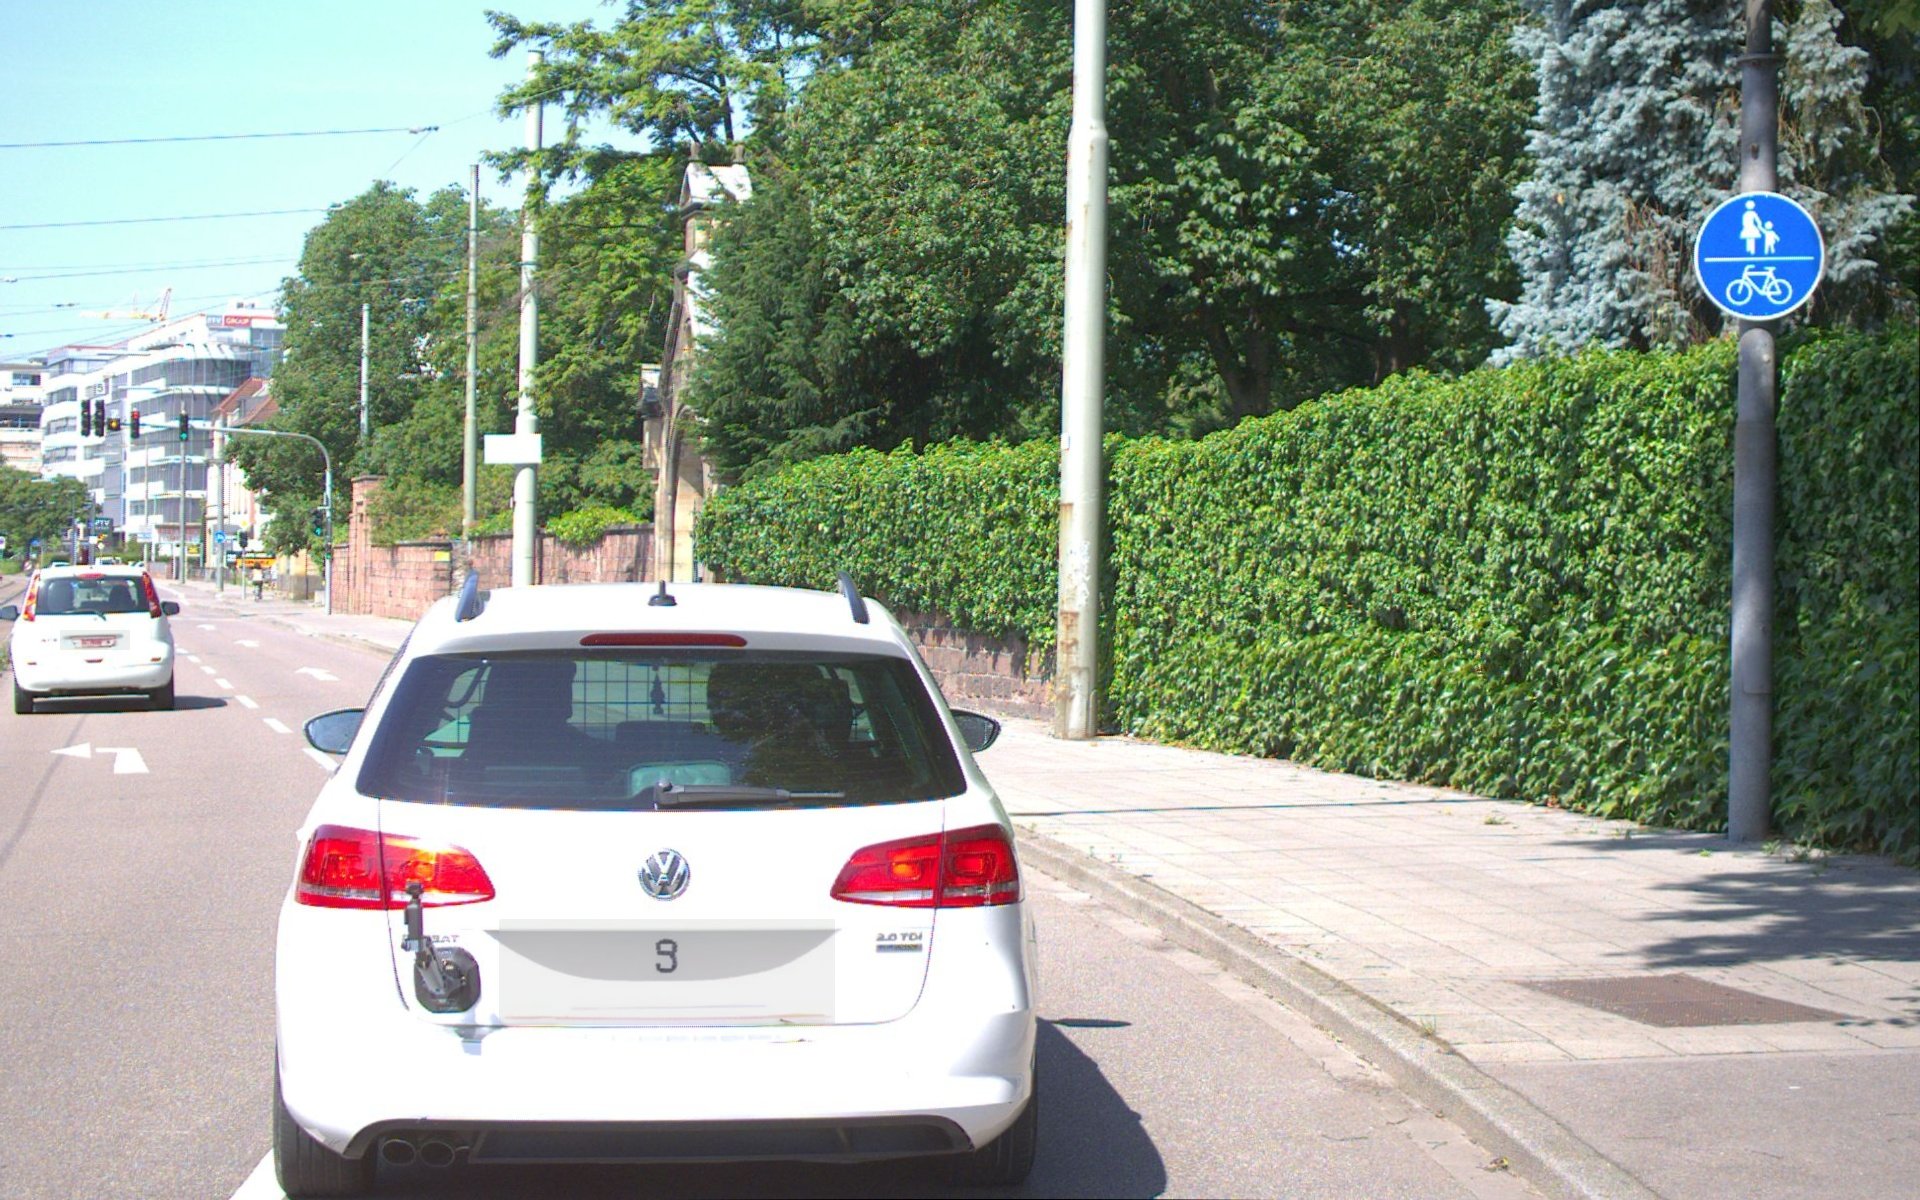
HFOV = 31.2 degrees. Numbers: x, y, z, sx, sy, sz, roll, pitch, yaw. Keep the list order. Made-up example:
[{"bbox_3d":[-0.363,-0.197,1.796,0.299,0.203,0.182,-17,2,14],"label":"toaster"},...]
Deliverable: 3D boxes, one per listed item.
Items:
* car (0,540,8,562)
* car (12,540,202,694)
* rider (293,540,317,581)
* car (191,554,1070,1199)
[{"bbox_3d":[-68.996,-3.519,245.923,1.698,1.585,3.536,0,1,-15],"label":"car"},{"bbox_3d":[-9.304,0.141,37.727,1.730,1.591,4.012,0,1,-10],"label":"car"},{"bbox_3d":[-27.546,-1.671,144.550,0.891,1.722,2.204,0,1,-14],"label":"rider"},{"bbox_3d":[-0.744,0.634,8.927,1.778,1.485,3.847,0,1,-2],"label":"car"}]
